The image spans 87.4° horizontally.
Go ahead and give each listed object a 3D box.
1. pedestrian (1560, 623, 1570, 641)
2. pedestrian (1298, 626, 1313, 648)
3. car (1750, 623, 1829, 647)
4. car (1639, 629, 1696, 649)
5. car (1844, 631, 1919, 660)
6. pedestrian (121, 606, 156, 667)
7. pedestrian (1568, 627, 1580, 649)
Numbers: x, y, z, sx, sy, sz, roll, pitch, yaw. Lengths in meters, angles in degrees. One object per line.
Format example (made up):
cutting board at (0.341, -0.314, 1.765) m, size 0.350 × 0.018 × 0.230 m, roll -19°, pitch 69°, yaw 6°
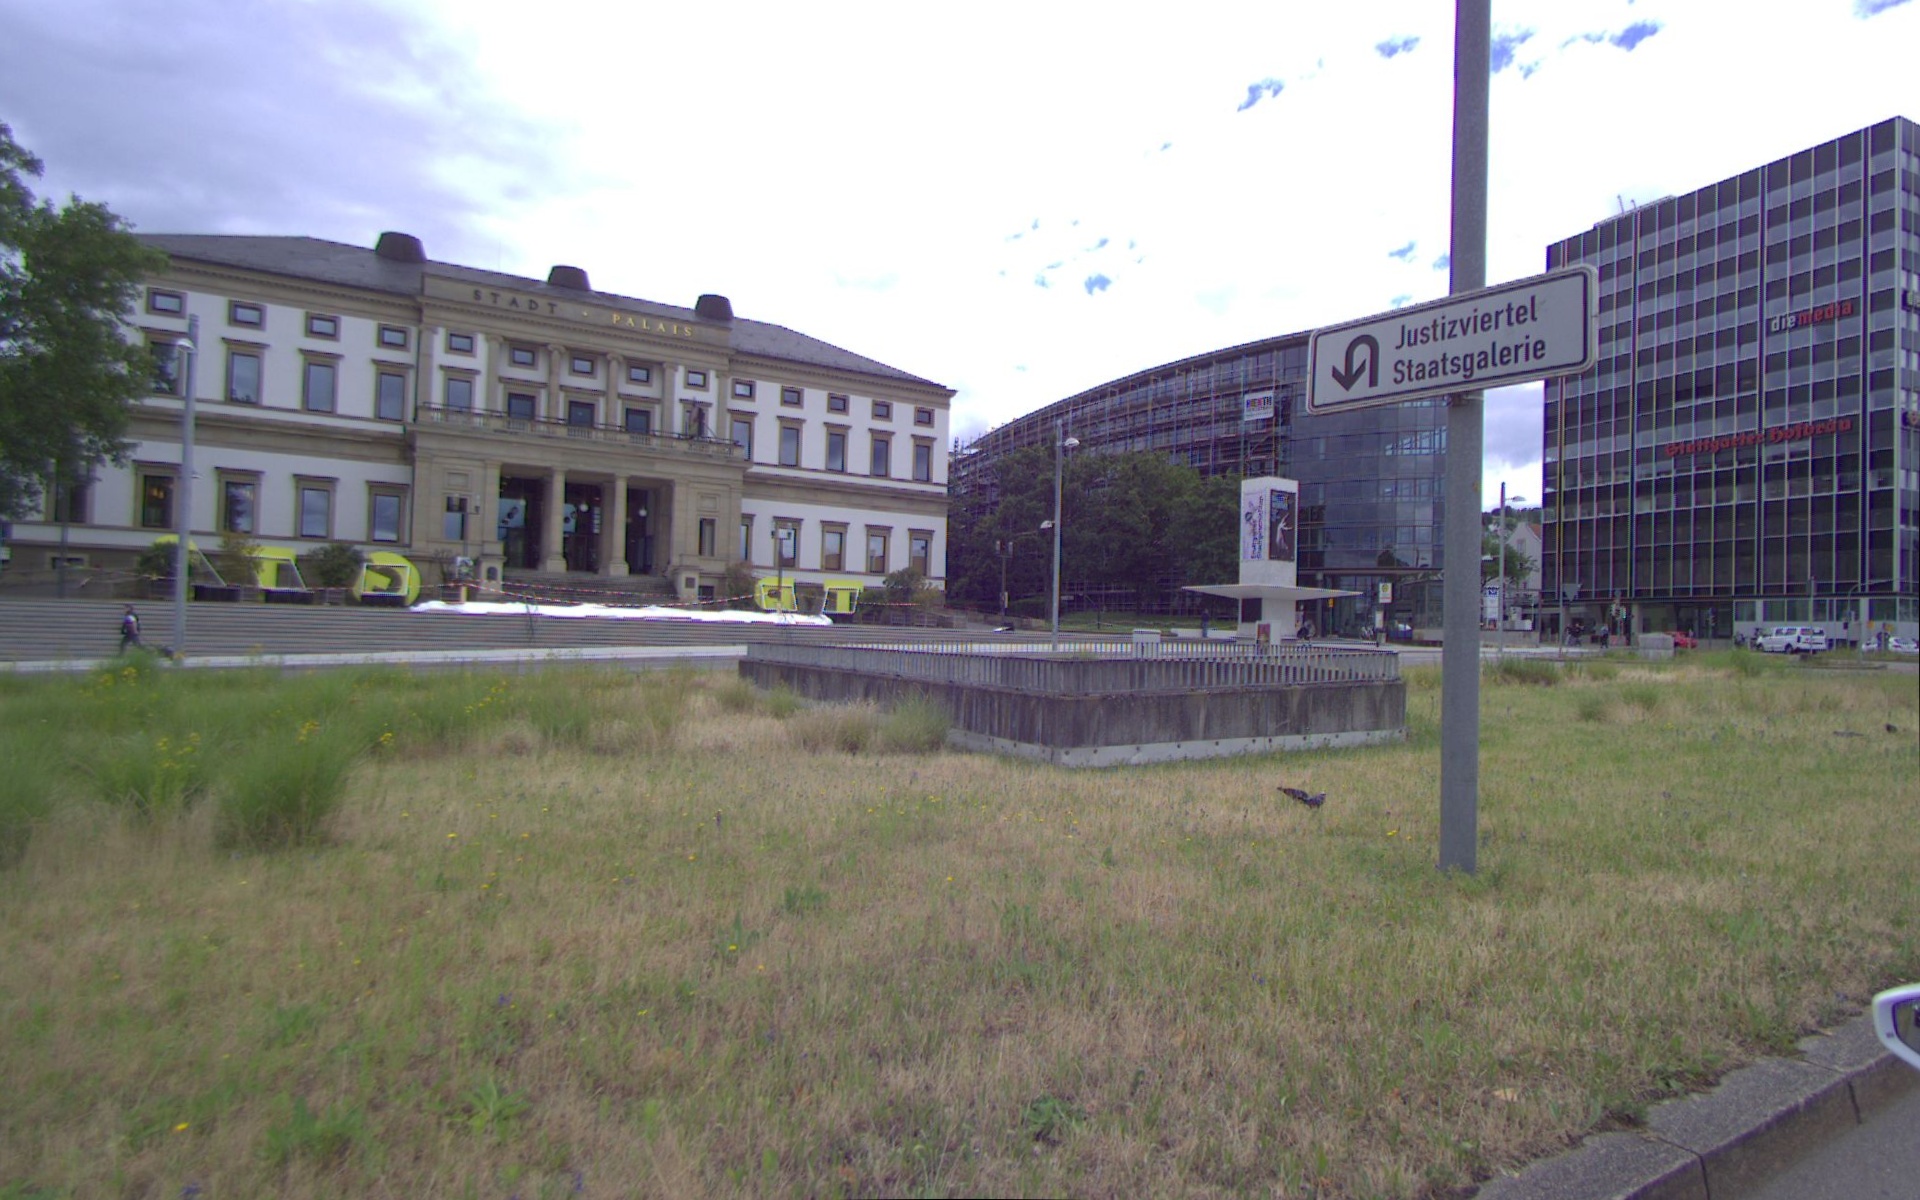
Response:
pedestrian at (46.901, 2.483, 77.909) m, size 0.527 × 1.414 × 0.655 m, roll 1°, pitch 0°, yaw 21°
pedestrian at (17.618, 1.861, 51.184) m, size 0.553 × 1.095 × 0.473 m, roll 1°, pitch 0°, yaw -27°
car at (59.368, 2.486, 72.023) m, size 2.206 × 1.522 × 4.614 m, roll 1°, pitch 0°, yaw 7°
car at (59.170, 3.214, 84.105) m, size 1.692 × 1.522 × 3.978 m, roll 1°, pitch 0°, yaw -5°
car at (62.196, 3.045, 67.778) m, size 1.862 × 1.632 × 4.002 m, roll -3°, pitch 1°, yaw 7°
pedestrian at (-22.977, 1.016, 28.100) m, size 0.643 × 1.671 × 0.521 m, roll 1°, pitch 0°, yaw -30°
pedestrian at (47.461, 2.922, 77.636) m, size 0.611 × 1.614 × 0.591 m, roll 1°, pitch 0°, yaw 21°
